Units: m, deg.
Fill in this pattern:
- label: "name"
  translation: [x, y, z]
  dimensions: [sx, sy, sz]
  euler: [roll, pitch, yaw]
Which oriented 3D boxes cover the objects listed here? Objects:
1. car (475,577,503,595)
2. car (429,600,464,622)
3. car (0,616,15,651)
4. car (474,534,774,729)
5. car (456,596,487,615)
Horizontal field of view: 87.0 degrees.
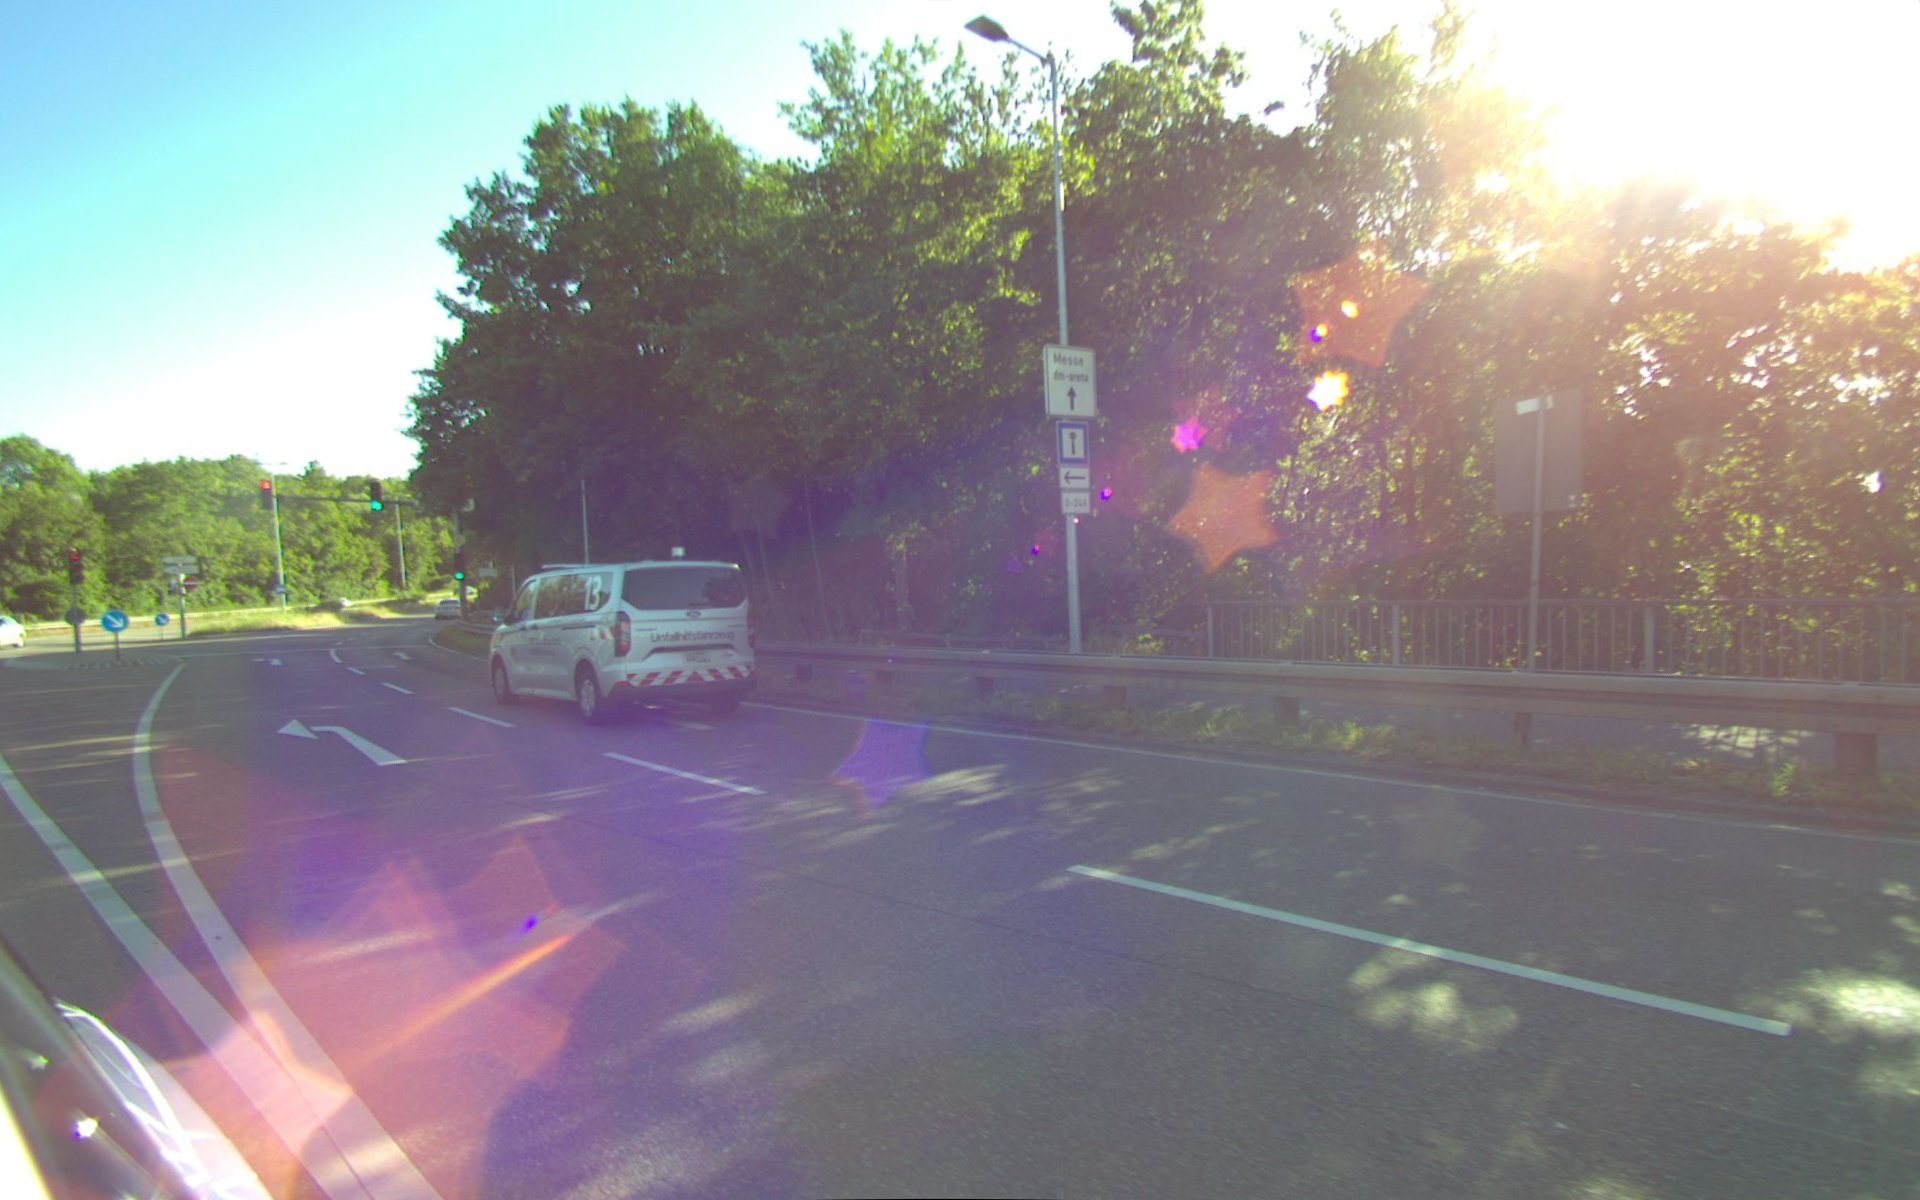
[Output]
- label: "car"
  translation: [-55.880, -1.643, 120.104]
  dimensions: [1.967, 2.029, 4.009]
  euler: [-2, 1, -11]
- label: "car"
  translation: [-37.680, 0.786, 74.333]
  dimensions: [1.821, 1.498, 4.644]
  euler: [-2, 1, -21]
- label: "car"
  translation: [-41.991, 1.486, 43.150]
  dimensions: [1.736, 1.447, 4.342]
  euler: [-2, 1, -33]
- label: "car"
  translation: [-4.738, 0.366, 13.663]
  dimensions: [1.925, 2.128, 5.277]
  euler: [0, 0, -42]
- label: "car"
  translation: [-43.148, 0.454, 89.508]
  dimensions: [1.677, 1.400, 4.542]
  euler: [-1, 4, -16]
